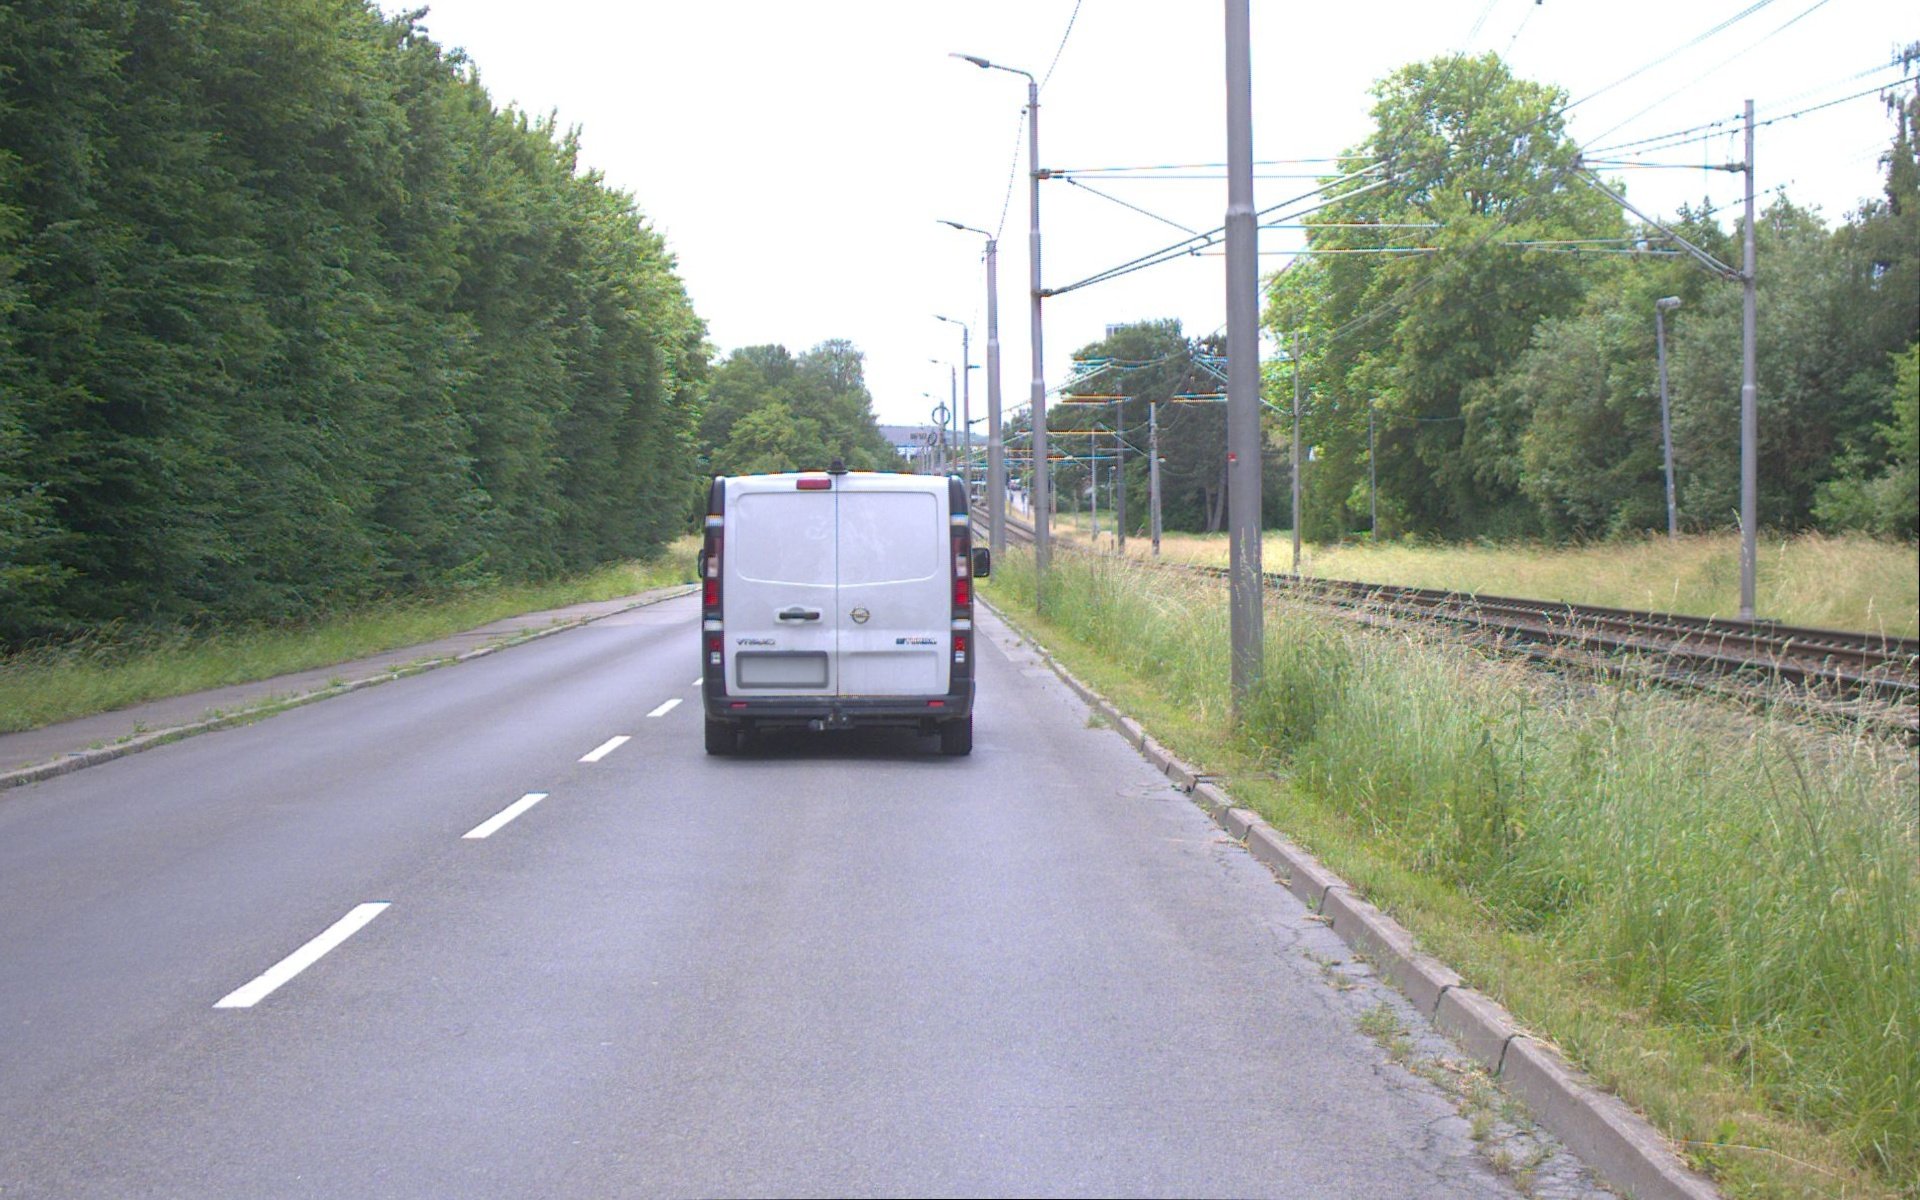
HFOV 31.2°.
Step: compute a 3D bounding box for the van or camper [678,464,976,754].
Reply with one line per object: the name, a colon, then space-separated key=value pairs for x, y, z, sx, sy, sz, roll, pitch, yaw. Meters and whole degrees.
van or camper: x=-0.953 y=0.008 z=24.829 sx=1.942 sy=1.890 sz=4.285 roll=-1 pitch=1 yaw=-2
